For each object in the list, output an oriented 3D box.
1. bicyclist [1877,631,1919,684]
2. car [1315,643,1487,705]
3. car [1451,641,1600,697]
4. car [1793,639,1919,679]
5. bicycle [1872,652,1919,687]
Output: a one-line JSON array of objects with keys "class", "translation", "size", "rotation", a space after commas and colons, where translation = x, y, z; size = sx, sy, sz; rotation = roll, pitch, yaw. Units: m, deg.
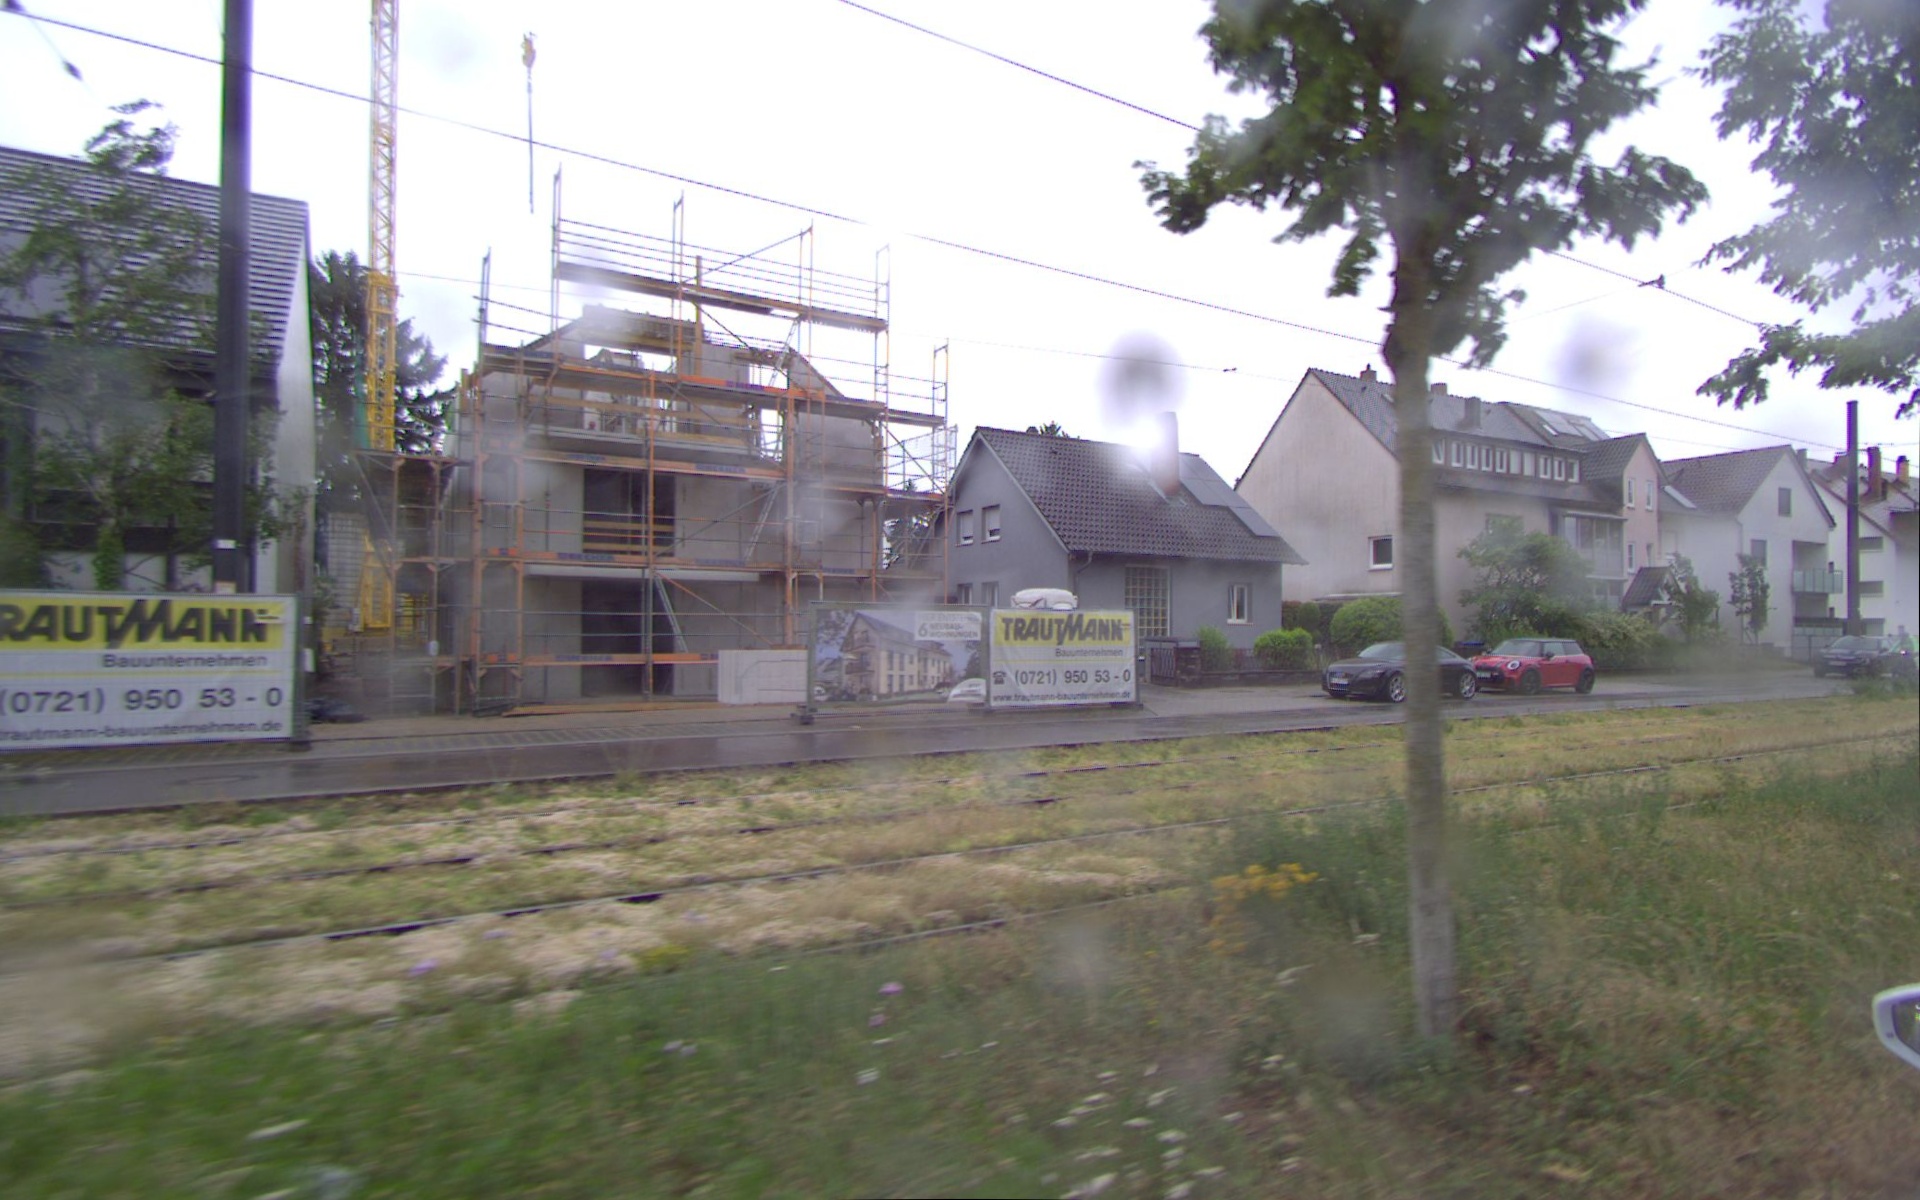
[{"class": "bicyclist", "translation": [30.782, 1.855, 32.753], "size": [1.079, 1.707, 1.014], "rotation": [1, -2, -30]}, {"class": "car", "translation": [10.387, 1.686, 23.602], "size": [4.023, 1.261, 1.655], "rotation": [1, 0, -30]}, {"class": "car", "translation": [14.781, 1.754, 26.242], "size": [3.808, 1.261, 1.667], "rotation": [1, 0, -30]}, {"class": "car", "translation": [32.528, 2.104, 36.451], "size": [4.627, 1.261, 1.889], "rotation": [1, 0, -27]}, {"class": "bicycle", "translation": [31.310, 2.270, 33.069], "size": [3.159, 1.041, 1.014], "rotation": [1, -2, -30]}]
